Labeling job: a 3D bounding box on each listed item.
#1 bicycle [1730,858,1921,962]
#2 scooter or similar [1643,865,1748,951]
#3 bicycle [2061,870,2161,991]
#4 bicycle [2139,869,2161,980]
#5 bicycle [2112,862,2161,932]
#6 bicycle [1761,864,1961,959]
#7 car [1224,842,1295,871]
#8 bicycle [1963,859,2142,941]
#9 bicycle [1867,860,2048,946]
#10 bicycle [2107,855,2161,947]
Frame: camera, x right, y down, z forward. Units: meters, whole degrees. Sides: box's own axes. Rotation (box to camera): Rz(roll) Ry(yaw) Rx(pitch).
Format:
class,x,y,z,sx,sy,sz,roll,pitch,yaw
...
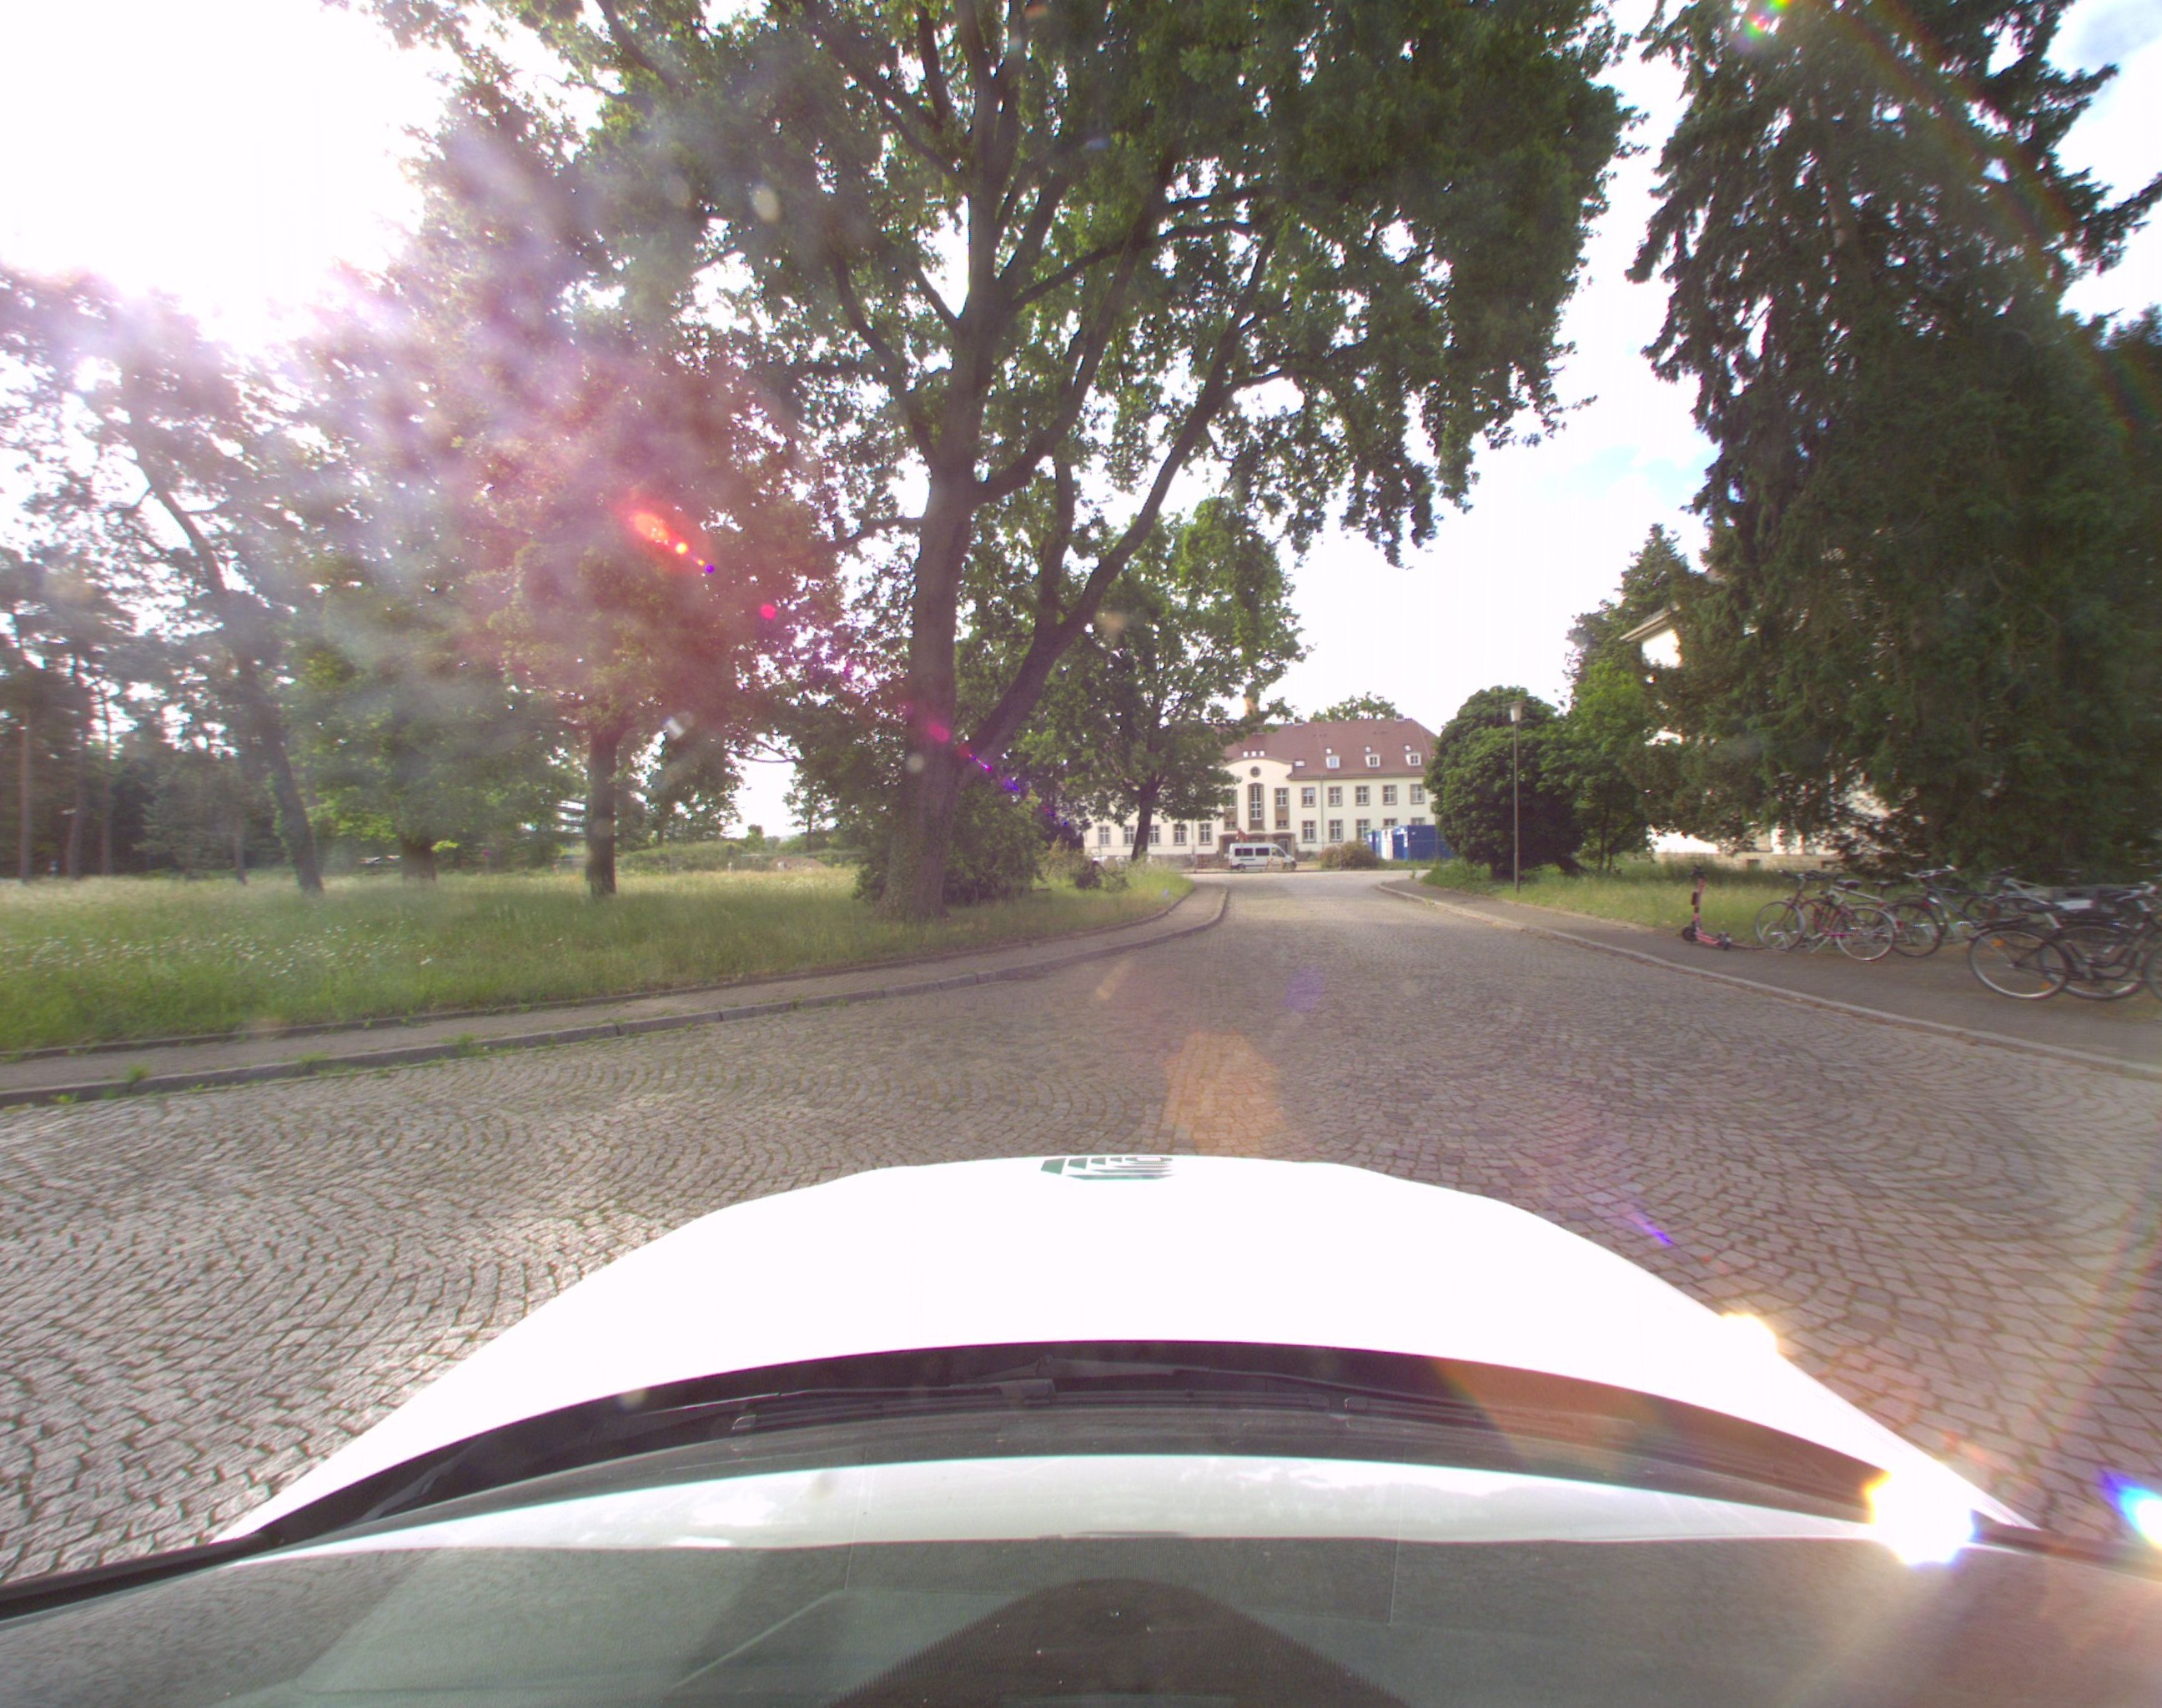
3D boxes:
class,x,y,z,sx,sy,sz,roll,pitch,yaw
bicycle,9.930,0.692,10.981,0.641,1.223,1.896,-3,1,-8
scooter or similar,9.223,0.780,12.299,0.675,1.195,1.559,-2,-1,14
bicycle,10.573,0.718,7.545,0.700,1.103,1.768,-3,-1,-8
bicycle,11.311,0.685,7.477,0.700,1.103,1.794,-3,-1,-8
bicycle,16.123,0.628,11.897,0.432,1.029,1.259,1,-2,-8
bicycle,10.579,0.735,11.165,0.641,1.114,1.986,-3,1,-8
car,14.382,0.203,65.714,5.479,2.206,2.133,0,3,10
bicycle,13.649,0.610,11.494,0.545,1.035,1.507,-3,1,-19
bicycle,12.161,0.638,11.371,0.539,1.073,1.619,-3,1,-19
bicycle,14.545,0.617,10.426,0.573,1.185,1.636,-3,1,-14
